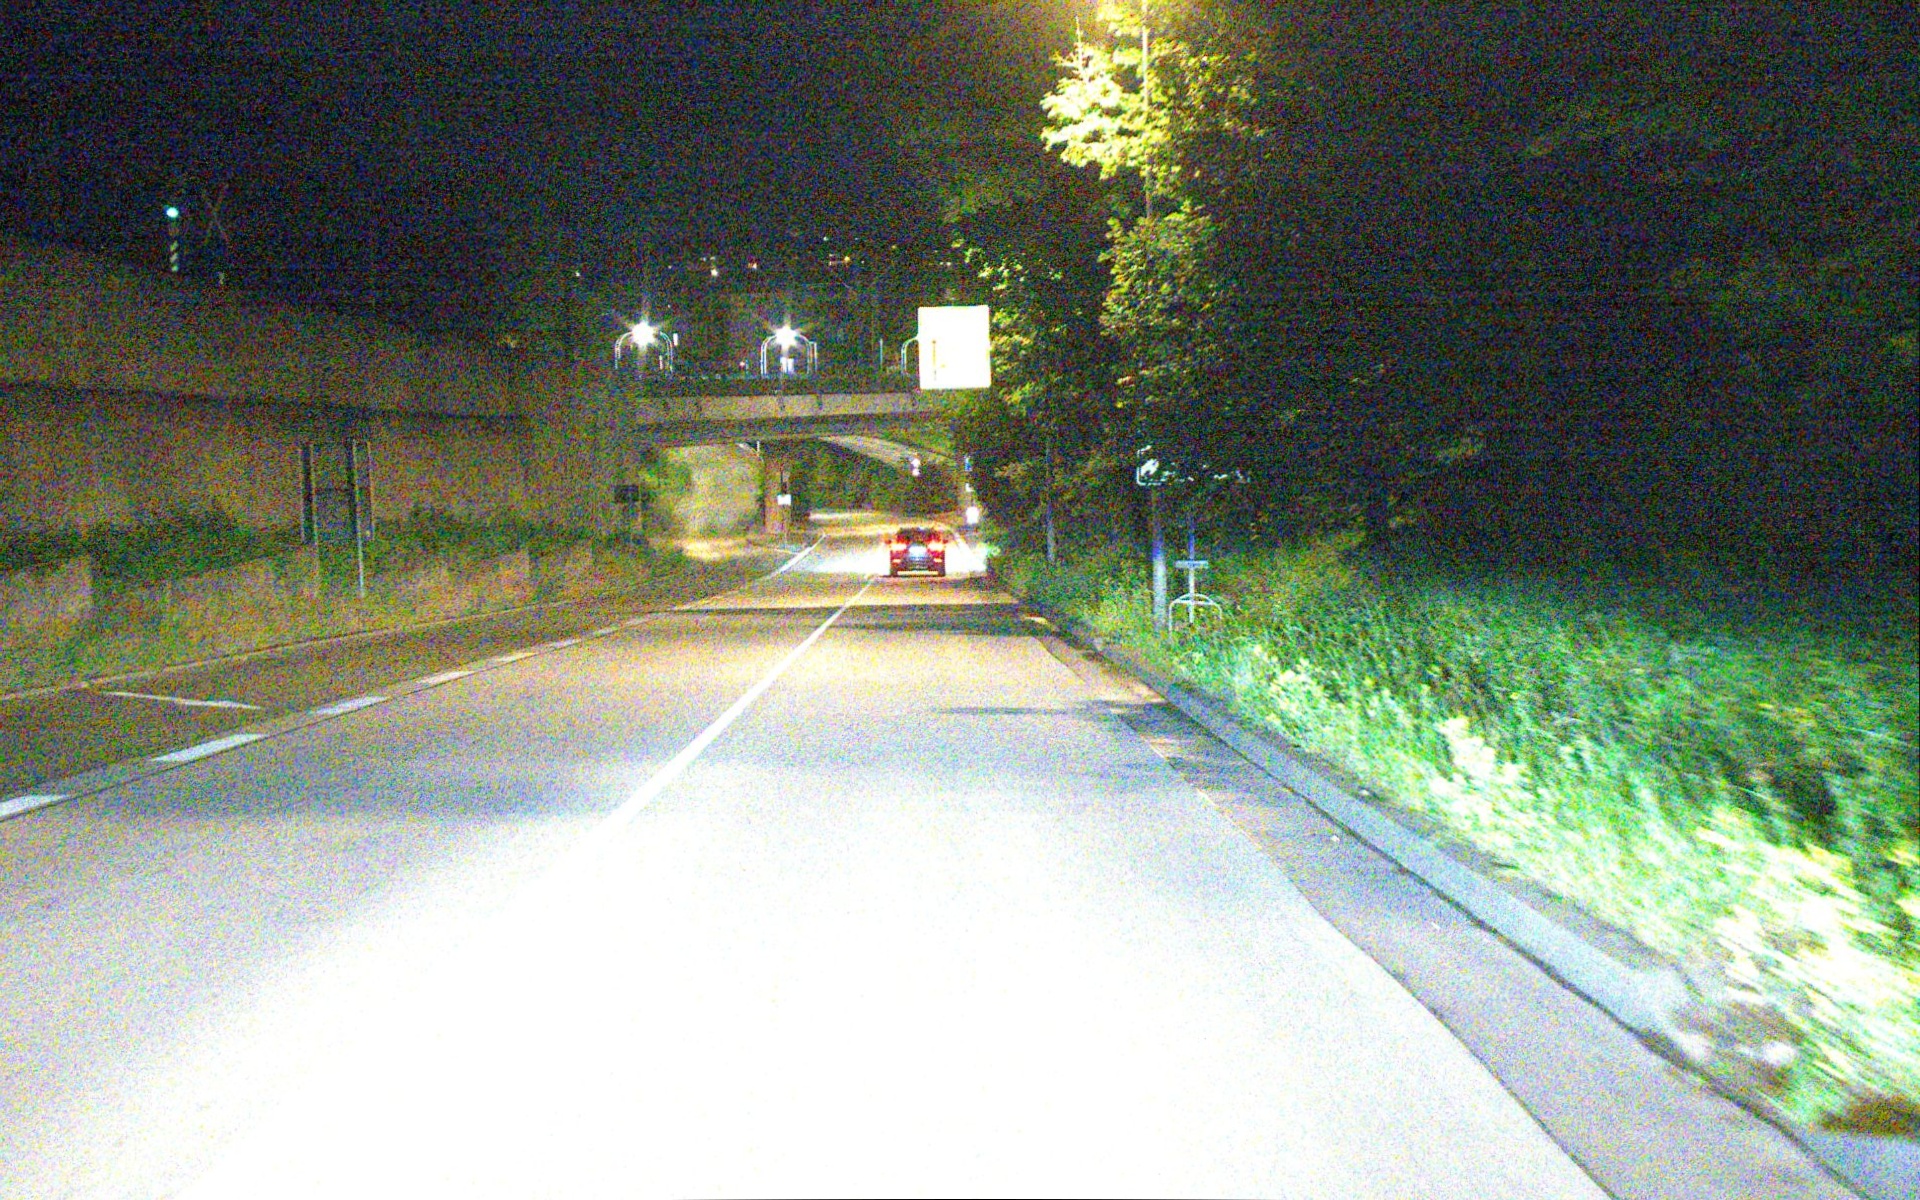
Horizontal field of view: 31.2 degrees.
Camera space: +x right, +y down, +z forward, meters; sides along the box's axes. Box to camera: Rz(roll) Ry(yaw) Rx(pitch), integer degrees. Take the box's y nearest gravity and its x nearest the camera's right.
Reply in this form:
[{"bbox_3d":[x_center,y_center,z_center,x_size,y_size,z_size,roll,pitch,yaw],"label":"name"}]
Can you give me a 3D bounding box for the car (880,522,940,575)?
[{"bbox_3d":[-1.638,-1.682,111.461,1.763,1.636,3.723,0,2,-3],"label":"car"}]
